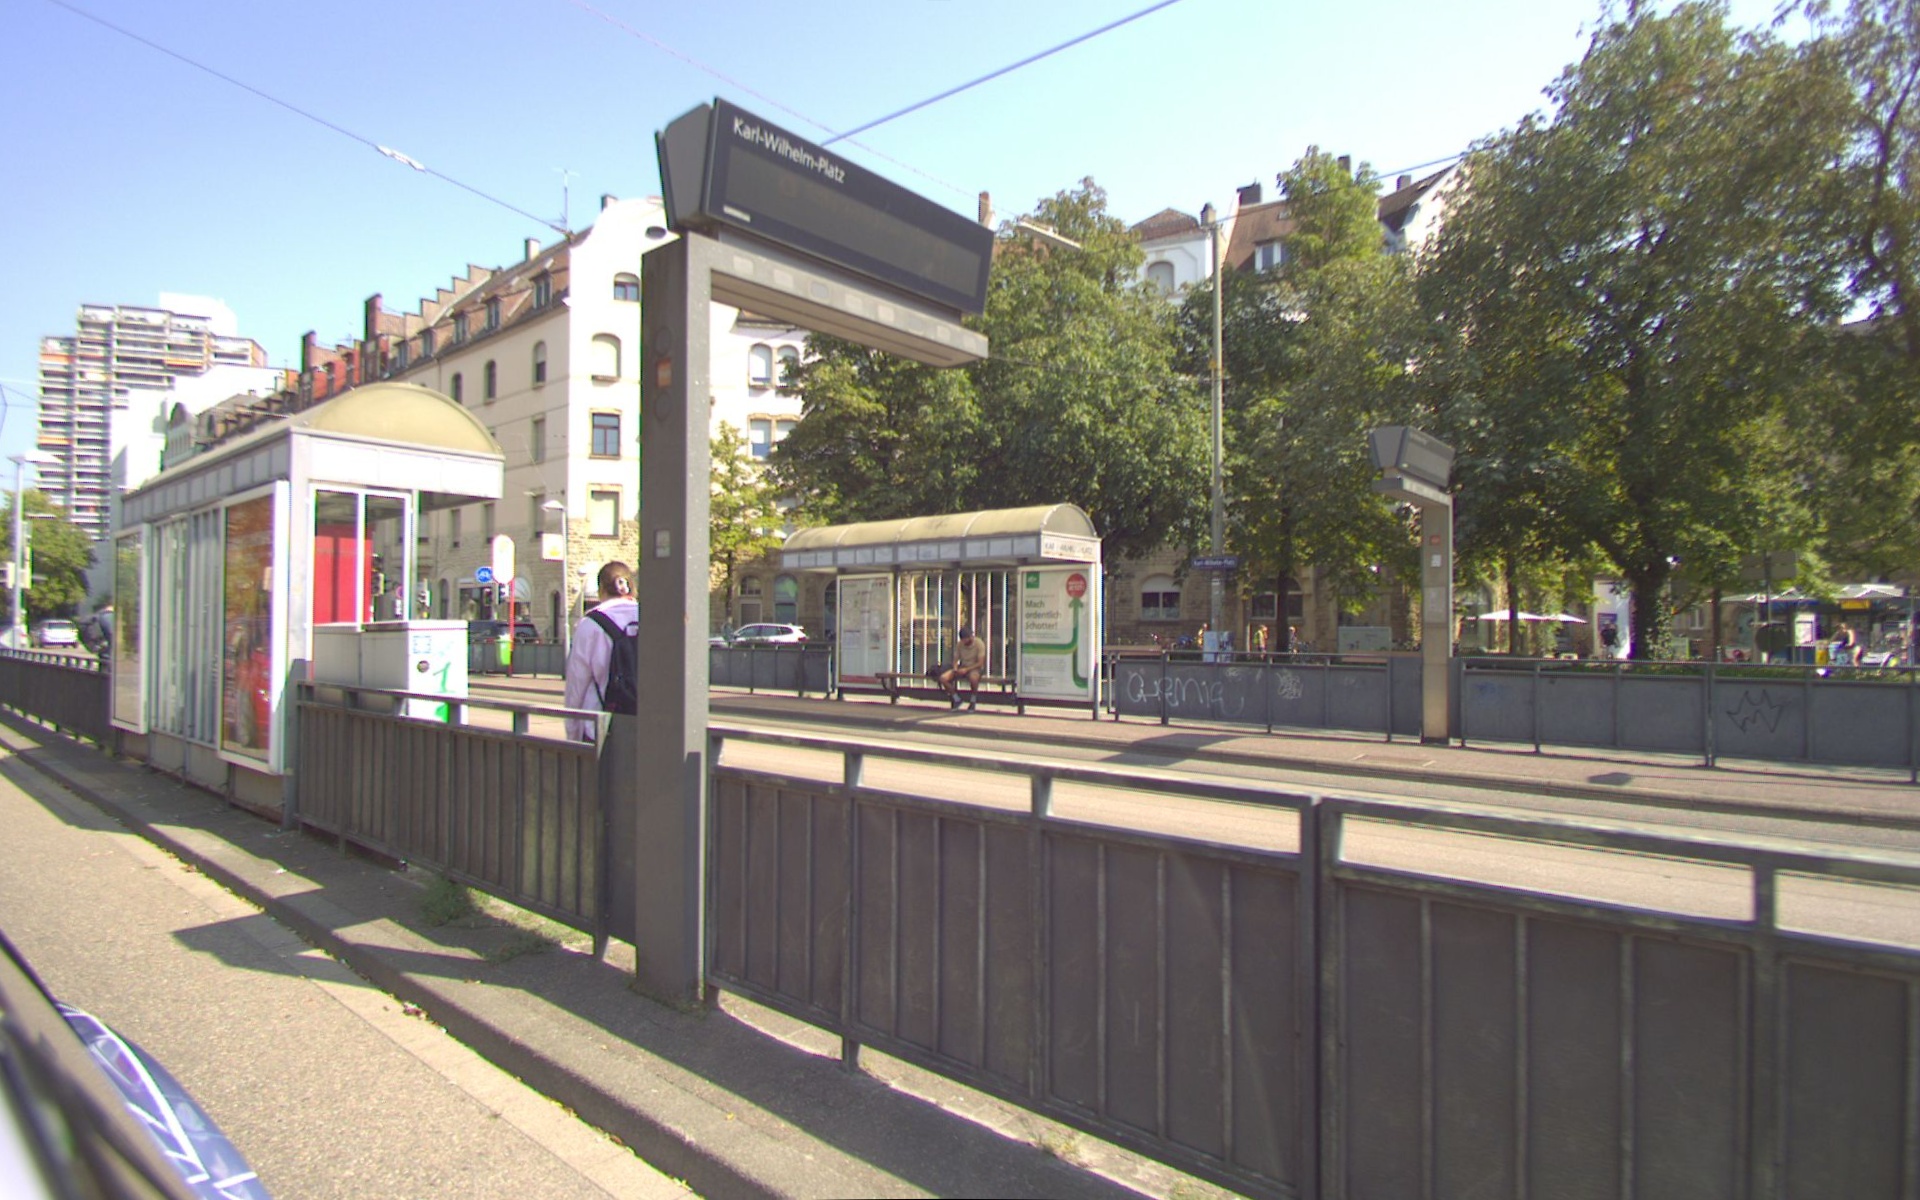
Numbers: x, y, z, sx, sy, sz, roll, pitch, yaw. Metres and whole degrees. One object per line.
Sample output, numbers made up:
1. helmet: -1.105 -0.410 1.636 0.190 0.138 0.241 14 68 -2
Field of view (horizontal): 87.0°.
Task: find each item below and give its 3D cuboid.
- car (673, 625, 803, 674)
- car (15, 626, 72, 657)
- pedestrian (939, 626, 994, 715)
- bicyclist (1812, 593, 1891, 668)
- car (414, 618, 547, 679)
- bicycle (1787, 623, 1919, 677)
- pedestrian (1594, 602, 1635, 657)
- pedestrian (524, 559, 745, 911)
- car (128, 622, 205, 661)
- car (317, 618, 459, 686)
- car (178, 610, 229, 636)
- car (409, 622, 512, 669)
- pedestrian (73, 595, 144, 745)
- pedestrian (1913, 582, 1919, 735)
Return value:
1. car: -8.319 1.852 38.272 4.560 1.739 2.002 1 -2 -5
2. car: -54.656 2.463 60.327 4.629 1.739 1.972 -1 -3 42
3. pedestrian: 0.095 1.011 14.722 0.648 1.260 0.473 -2 -2 42
4. bicyclist: 24.563 0.834 27.904 1.191 2.029 1.213 1 -1 -21
5. car: -14.727 1.447 30.974 4.629 1.739 1.972 -1 -3 42
6. bicycle: 24.666 1.358 27.934 3.425 1.447 1.227 1 -2 -20
7. pedestrian: 24.407 1.084 37.747 1.021 2.029 1.096 0 0 -44
8. pedestrian: -1.658 0.624 5.164 0.853 1.596 0.729 -1 -2 40
9. car: -36.932 1.921 47.058 4.629 1.739 1.972 -1 -3 42
10. car: -16.015 1.400 28.256 4.628 1.739 1.973 -1 -3 41
11. car: -53.477 1.633 71.507 4.629 1.739 1.972 -1 -3 42
12. car: -19.591 1.770 39.622 4.629 1.739 1.972 -1 -3 42
13. pedestrian: -10.064 0.805 11.954 0.832 1.706 0.528 -2 -2 44
14. pedestrian: 13.323 0.773 13.334 1.036 2.029 1.080 -1 0 40
